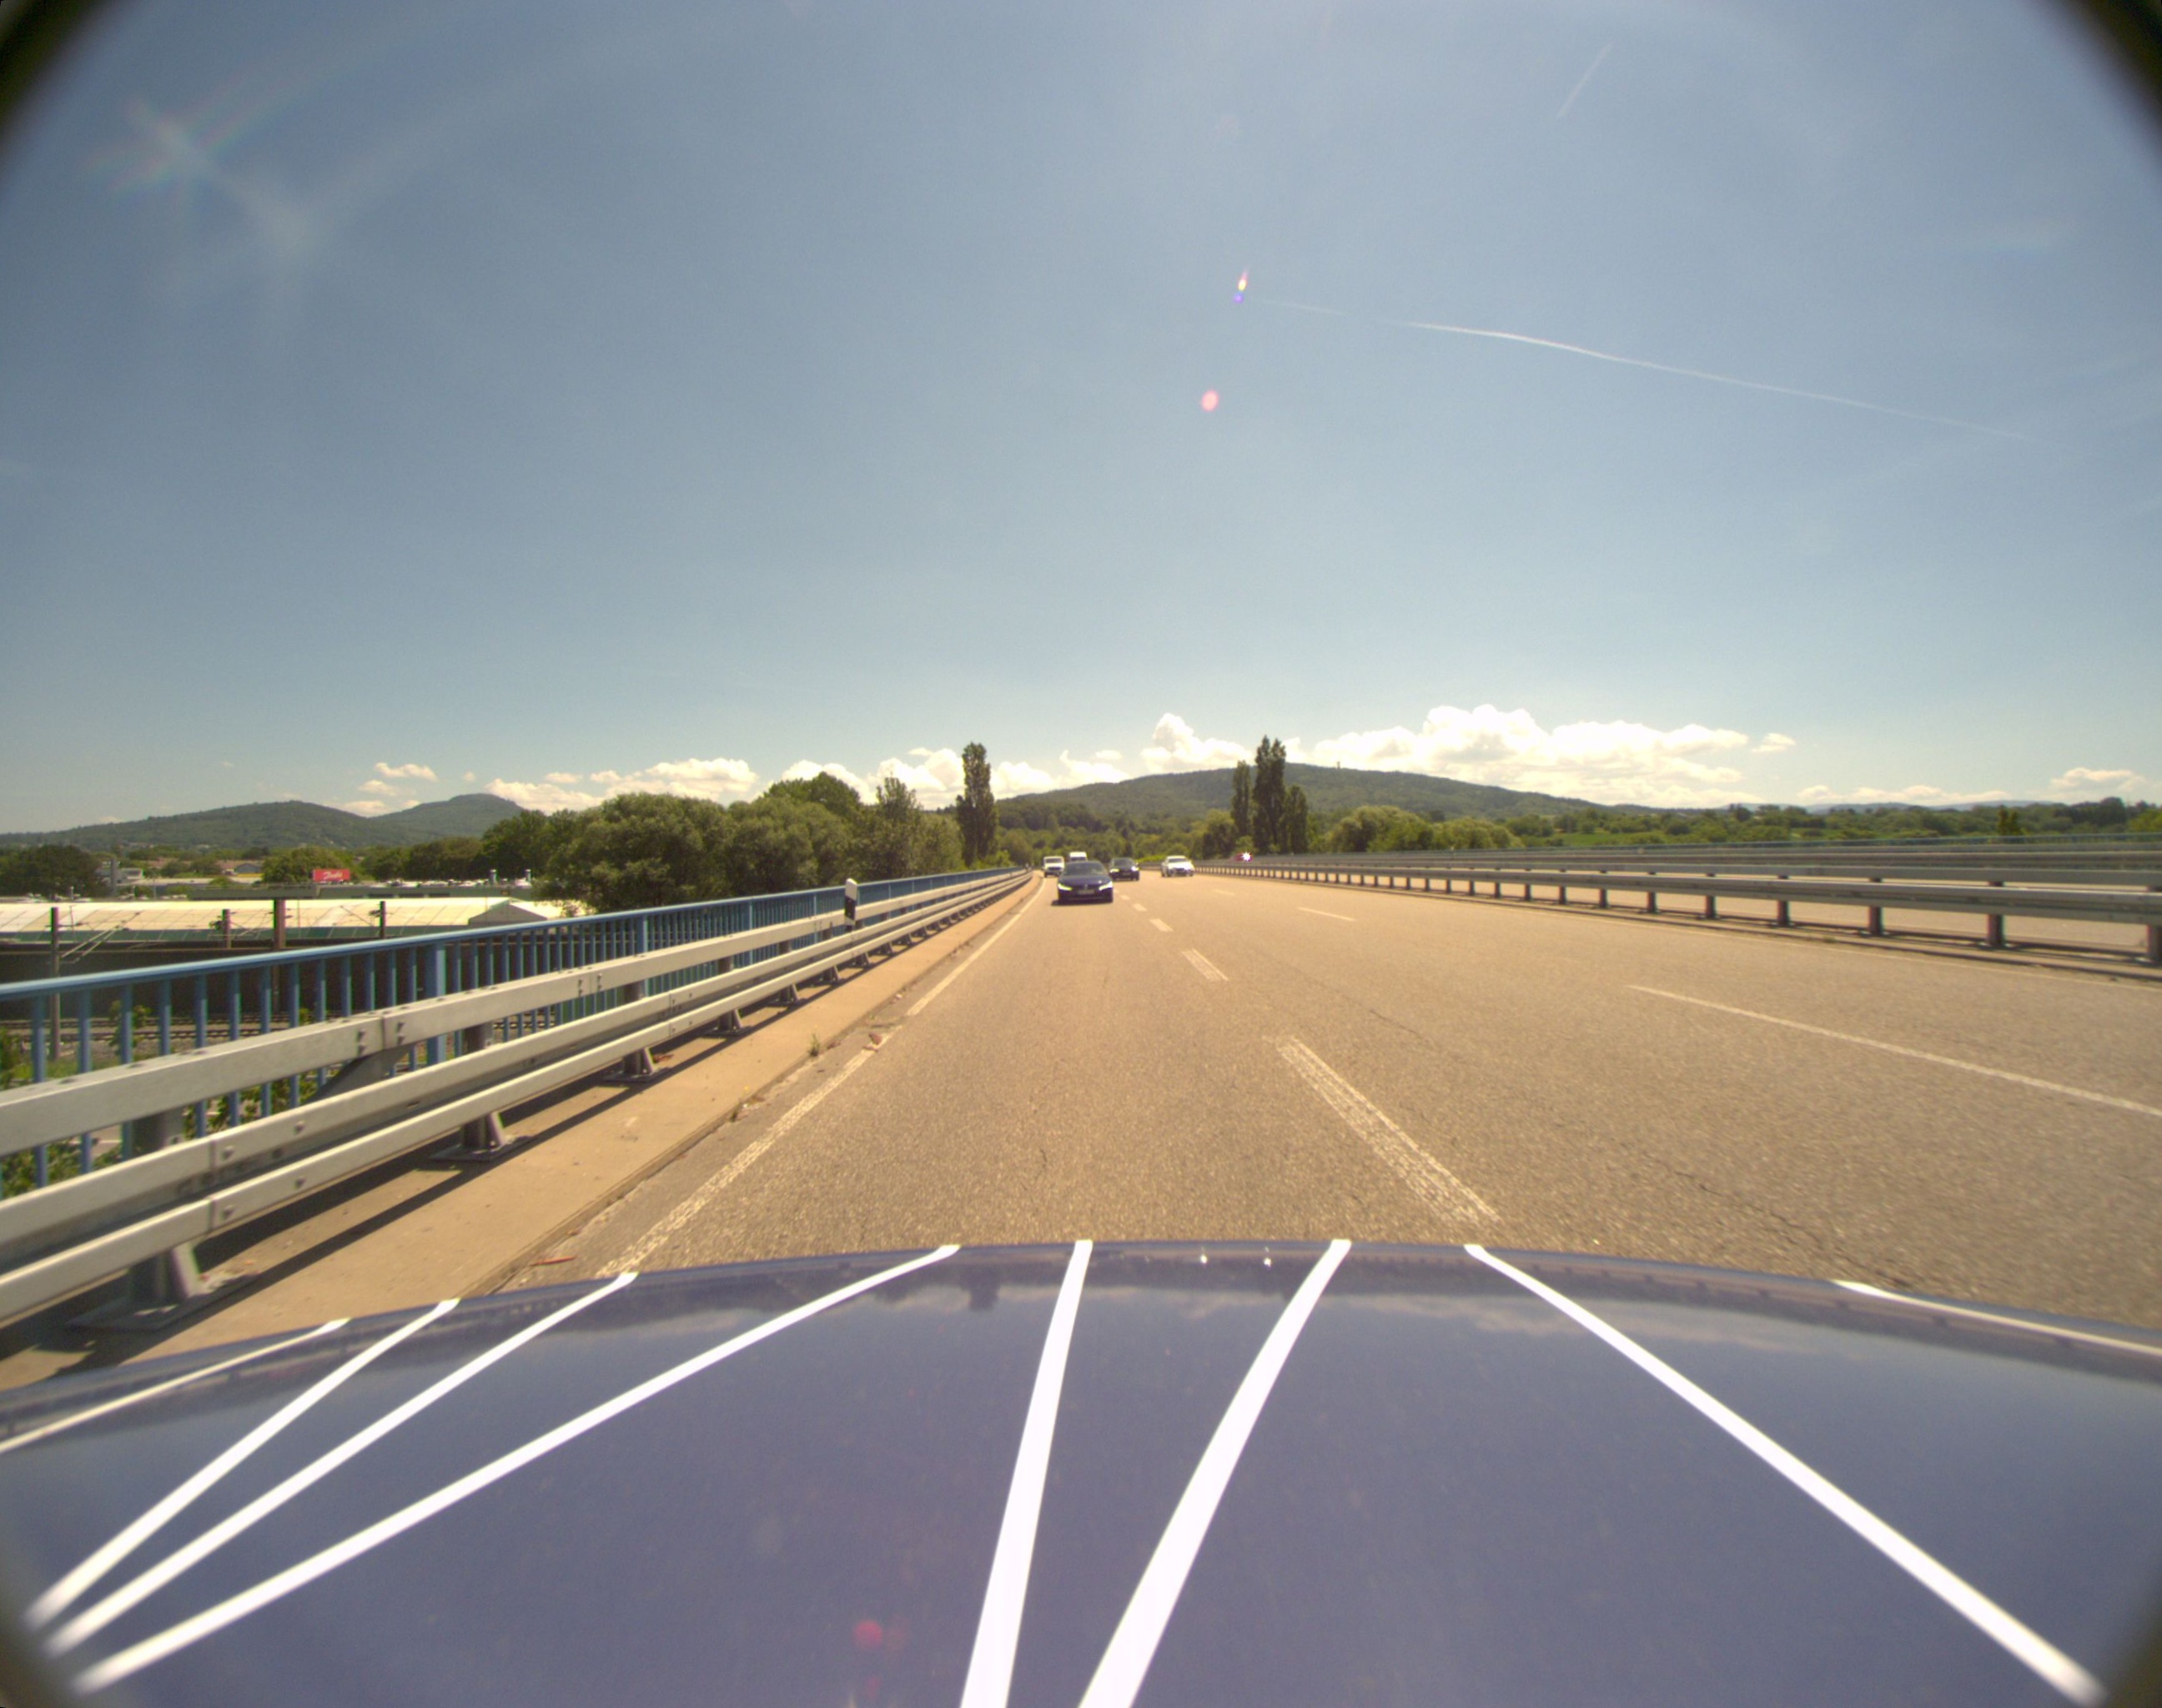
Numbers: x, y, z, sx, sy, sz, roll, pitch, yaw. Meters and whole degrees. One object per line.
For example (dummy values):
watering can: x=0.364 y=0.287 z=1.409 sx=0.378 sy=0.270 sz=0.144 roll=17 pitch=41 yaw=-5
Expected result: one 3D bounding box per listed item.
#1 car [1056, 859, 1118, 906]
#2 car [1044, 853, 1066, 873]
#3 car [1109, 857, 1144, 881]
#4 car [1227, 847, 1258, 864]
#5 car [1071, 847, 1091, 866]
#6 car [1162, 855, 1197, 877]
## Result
car: x=0.117 y=0.930 z=26.635 sx=1.846 sy=1.399 sz=4.468 roll=-3 pitch=0 yaw=-3
car: x=-2.491 y=0.863 z=72.813 sx=1.885 sy=1.724 sz=4.467 roll=-3 pitch=1 yaw=-4
car: x=2.878 y=0.955 z=49.202 sx=1.846 sy=1.399 sz=4.469 roll=-2 pitch=0 yaw=-1
car: x=16.101 y=0.126 z=75.783 sx=1.848 sy=1.658 sz=5.049 roll=-2 pitch=1 yaw=-1
car: x=-0.023 y=0.267 z=88.916 sx=2.009 sy=1.987 sz=4.578 roll=-3 pitch=1 yaw=-2
car: x=7.018 y=0.818 z=54.677 sx=1.846 sy=1.400 sz=4.469 roll=-3 pitch=1 yaw=0
